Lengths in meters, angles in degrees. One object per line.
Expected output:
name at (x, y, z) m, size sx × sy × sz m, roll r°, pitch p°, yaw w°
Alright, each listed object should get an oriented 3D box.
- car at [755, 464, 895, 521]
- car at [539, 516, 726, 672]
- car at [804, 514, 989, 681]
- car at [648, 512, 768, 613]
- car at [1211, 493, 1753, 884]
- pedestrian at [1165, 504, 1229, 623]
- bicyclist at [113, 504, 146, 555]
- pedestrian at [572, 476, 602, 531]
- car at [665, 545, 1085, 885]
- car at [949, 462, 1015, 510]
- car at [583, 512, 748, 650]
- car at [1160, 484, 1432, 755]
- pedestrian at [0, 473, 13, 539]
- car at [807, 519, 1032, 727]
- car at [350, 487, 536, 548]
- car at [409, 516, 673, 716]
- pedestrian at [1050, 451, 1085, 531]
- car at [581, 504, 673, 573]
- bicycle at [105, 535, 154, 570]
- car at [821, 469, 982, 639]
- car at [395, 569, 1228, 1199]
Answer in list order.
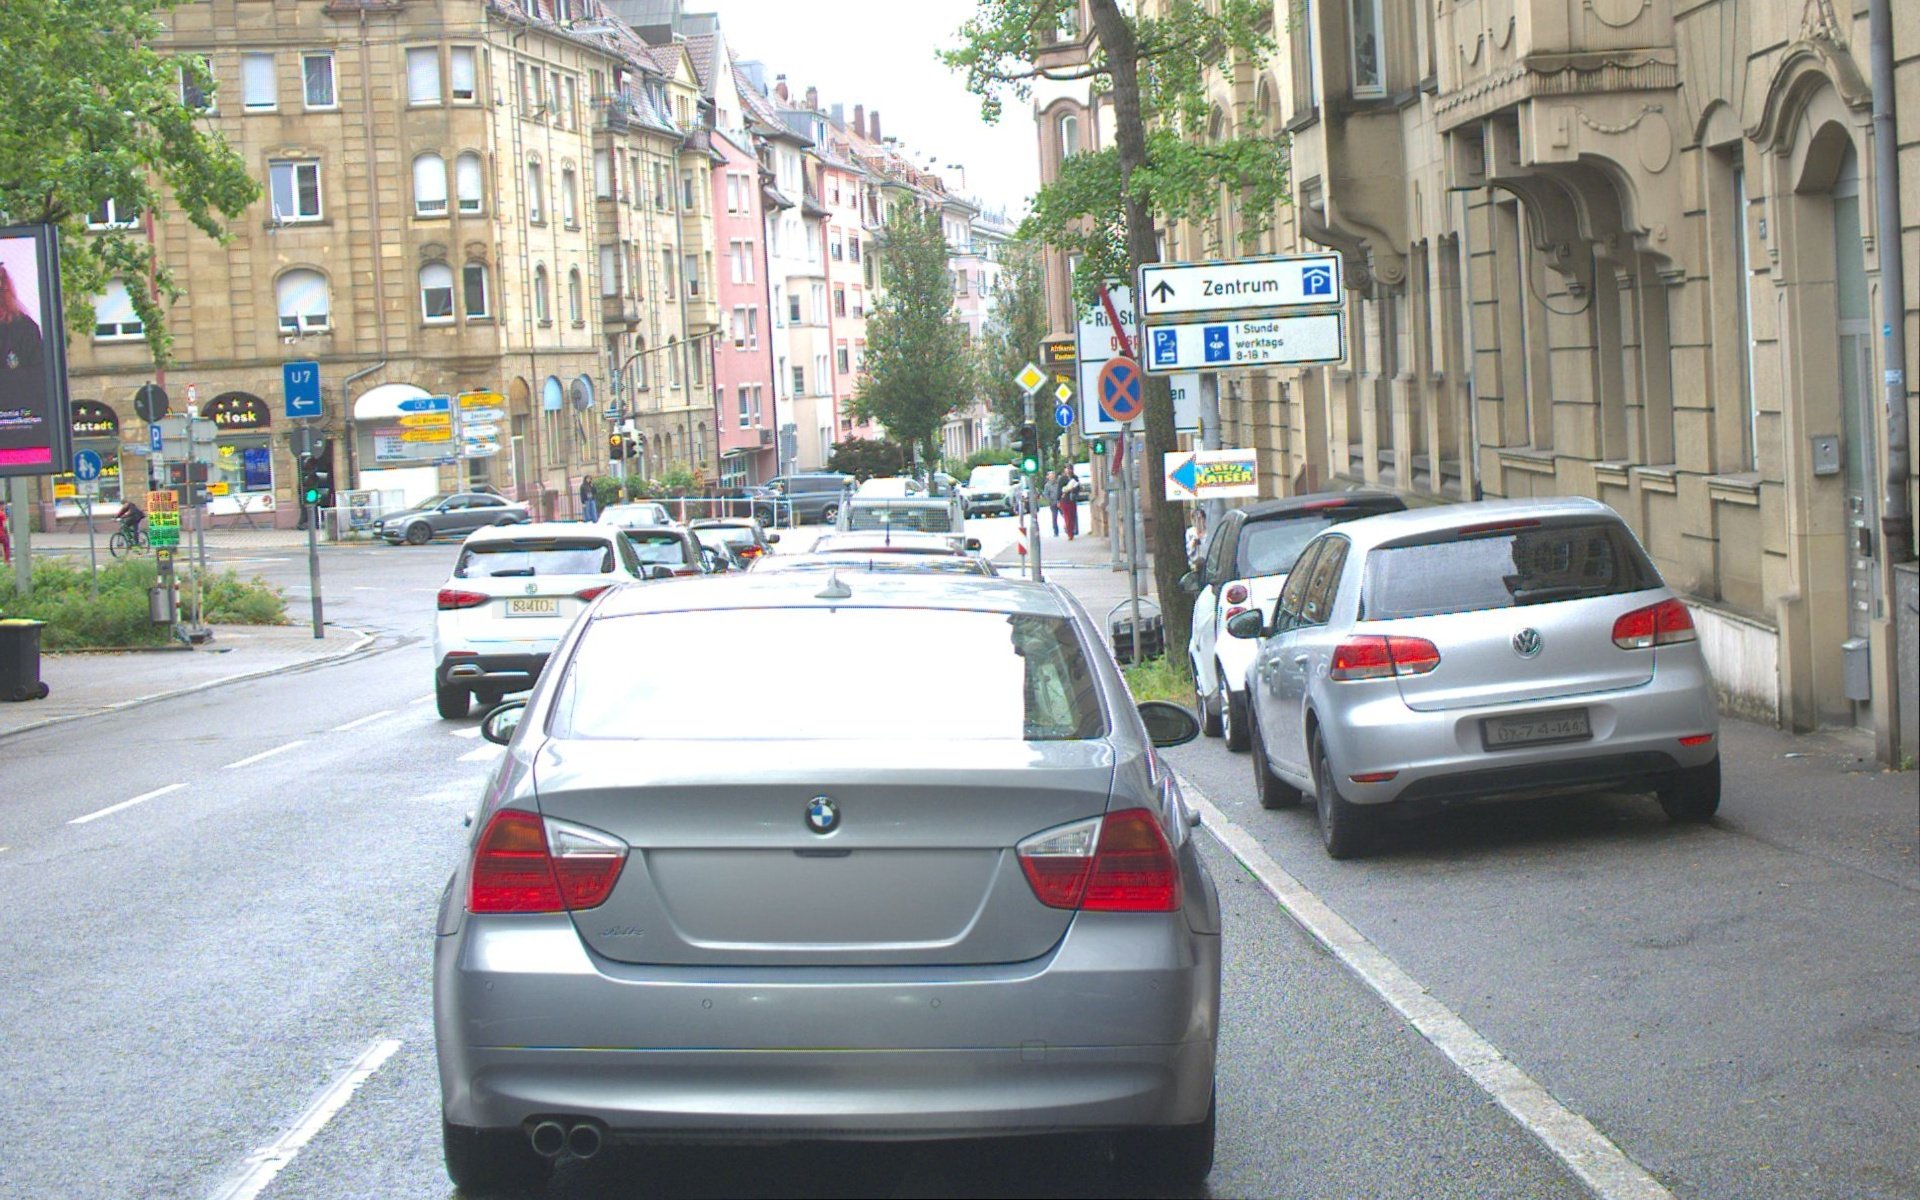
car at (-5.056, -4.037, 129.771) m, size 5.176 × 2.007 × 2.699 m, roll 1°, pitch 1°, yaw -1°
car at (-3.788, -0.115, 40.324) m, size 1.759 × 1.702 × 4.000 m, roll -1°, pitch 1°, yaw 1°
car at (-0.661, -0.074, 35.237) m, size 1.759 × 1.562 × 4.001 m, roll -1°, pitch 2°, yaw -1°
car at (-4.410, -0.693, 60.697) m, size 1.759 × 1.702 × 4.000 m, roll -1°, pitch 1°, yaw 1°
car at (2.320, 0.321, 16.298) m, size 1.759 × 1.446 × 4.000 m, roll -6°, pitch 1°, yaw -1°
pedestrian at (3.122, -0.481, 45.282) m, size 0.631 × 1.503 × 0.693 m, roll -6°, pitch 1°, yaw -1°
bicyclist at (-20.864, -1.765, 86.357) m, size 0.569 × 1.268 × 0.689 m, roll 1°, pitch 0°, yaw 12°
pedestrian at (-10.959, -2.840, 100.951) m, size 0.732 × 1.572 × 0.528 m, roll -2°, pitch 1°, yaw 8°
car at (-0.340, 0.455, 16.552) m, size 1.759 × 1.378 × 4.000 m, roll -1°, pitch 1°, yaw 1°
car at (0.786, -3.996, 120.565) m, size 1.994 × 1.573 × 3.999 m, roll 1°, pitch 1°, yaw 5°
car at (-3.797, -0.289, 44.904) m, size 1.759 × 1.702 × 4.000 m, roll -1°, pitch 1°, yaw 1°
car at (2.156, 0.086, 22.644) m, size 1.299 × 1.537 × 2.976 m, roll -6°, pitch 1°, yaw -1°
pedestrian at (-23.390, -2.262, 83.127) m, size 0.537 × 1.572 × 0.719 m, roll -2°, pitch 1°, yaw 23°
car at (-0.274, 0.118, 26.874) m, size 1.595 × 1.459 × 4.000 m, roll 1°, pitch 1°, yaw 1°
car at (-14.187, -2.252, 94.394) m, size 4.639 × 1.573 × 2.000 m, roll 0°, pitch 1°, yaw -29°
car at (-3.604, 0.084, 30.192) m, size 1.868 × 1.620 × 4.000 m, roll -1°, pitch 1°, yaw -1°
pedestrian at (2.602, -2.640, 83.437) m, size 0.742 × 1.903 × 0.659 m, roll -2°, pitch 1°, yaw -1°
car at (-7.377, -1.380, 76.450) m, size 1.715 × 1.445 × 3.743 m, roll -2°, pitch 1°, yaw -1°
bicycle at (-20.861, -1.197, 86.380) m, size 0.574 × 0.855 × 1.521 m, roll 1°, pitch 1°, yaw 13°
car at (-0.746, -0.607, 44.801) m, size 1.993 × 2.099 × 4.000 m, roll 0°, pitch 1°, yaw -1°
car at (-0.273, 0.655, 8.573) m, size 1.623 × 1.378 × 3.615 m, roll -1°, pitch 1°, yaw 1°
